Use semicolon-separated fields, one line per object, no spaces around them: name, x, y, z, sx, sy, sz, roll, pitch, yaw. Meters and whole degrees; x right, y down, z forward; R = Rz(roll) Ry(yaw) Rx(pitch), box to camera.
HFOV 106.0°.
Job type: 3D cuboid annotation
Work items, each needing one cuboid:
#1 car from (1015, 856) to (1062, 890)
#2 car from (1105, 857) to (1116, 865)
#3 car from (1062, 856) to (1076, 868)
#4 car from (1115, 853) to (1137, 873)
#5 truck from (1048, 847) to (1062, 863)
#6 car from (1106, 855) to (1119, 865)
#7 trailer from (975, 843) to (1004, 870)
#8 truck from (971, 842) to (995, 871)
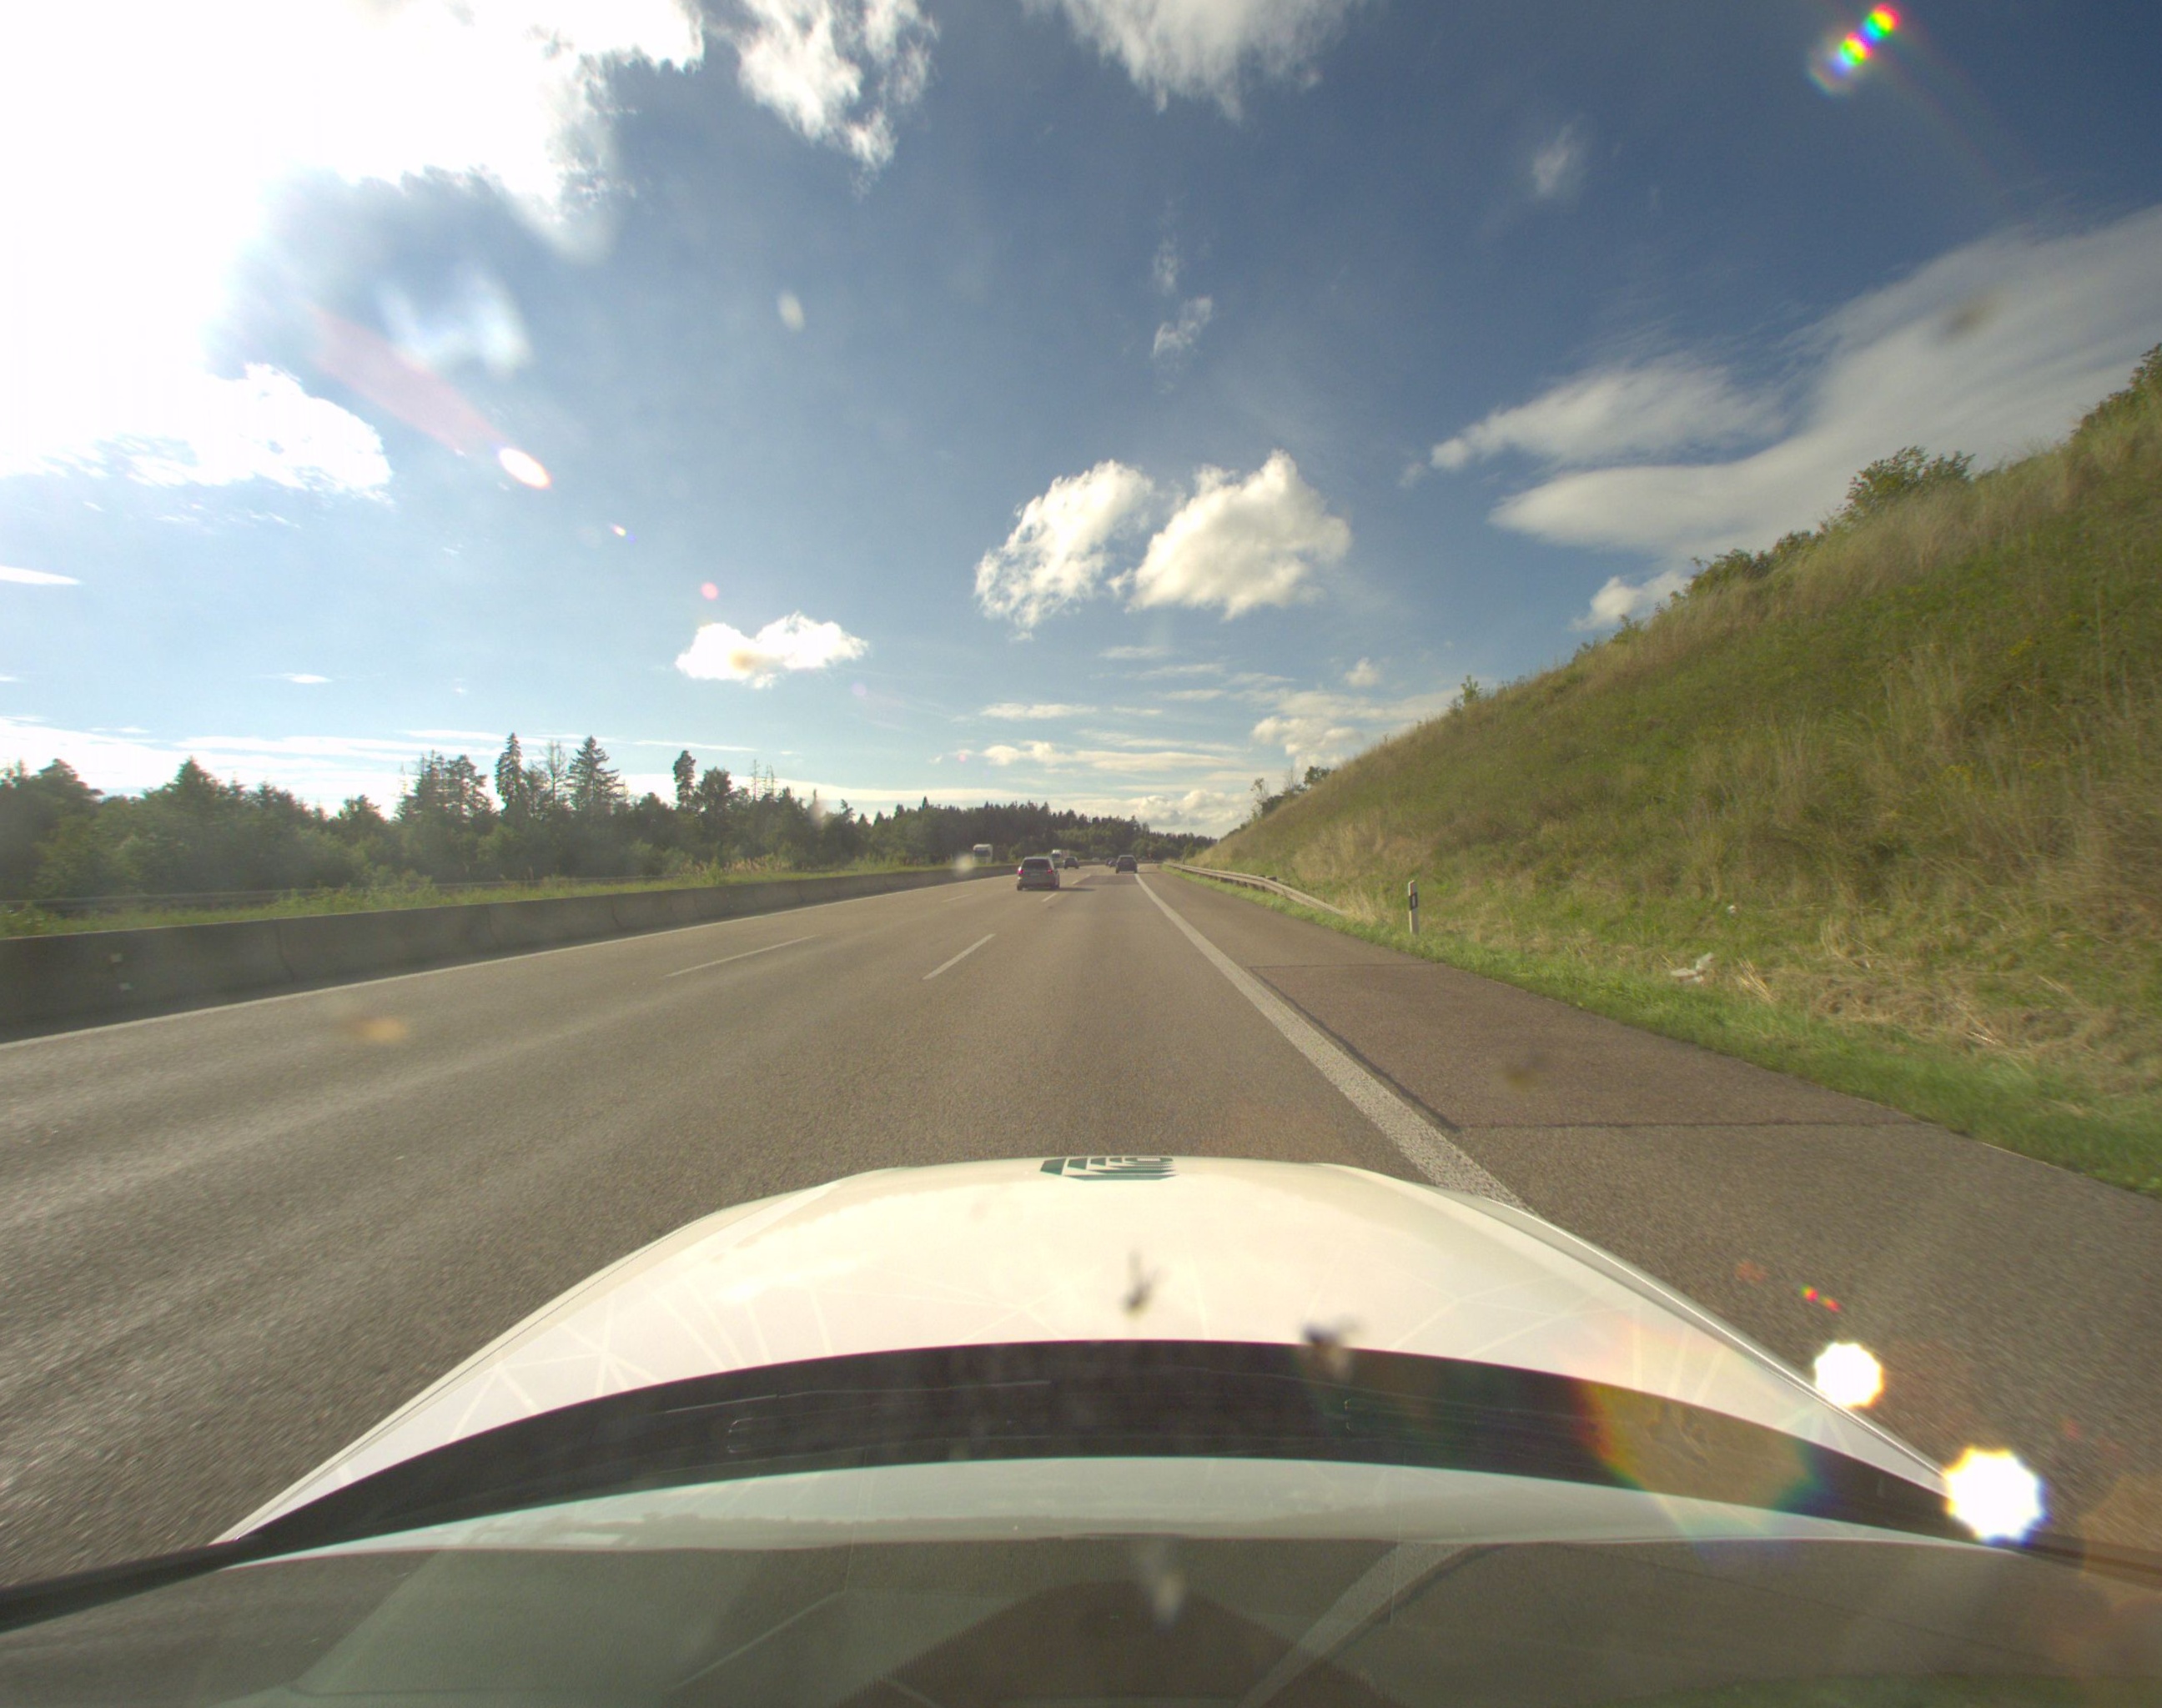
car;-1.957;0.862;38.576;1.867;1.497;3.881;-1;0;1
car;5.684;1.395;155.869;1.866;1.497;3.883;-1;0;3
car;-1.636;1.057;111.132;1.867;1.497;3.880;-1;0;1
car;4.006;0.788;73.686;1.867;1.675;3.891;-1;0;1
truck;-6.767;0.252;211.828;3.010;4.109;5.676;-1;0;5
car;4.790;0.953;123.545;1.866;1.497;3.881;-1;0;2
trailer;-15.223;0.404;136.397;2.790;4.392;12.060;-1;0;3
truck;-15.571;0.399;130.045;2.791;4.392;5.469;-1;0;3
